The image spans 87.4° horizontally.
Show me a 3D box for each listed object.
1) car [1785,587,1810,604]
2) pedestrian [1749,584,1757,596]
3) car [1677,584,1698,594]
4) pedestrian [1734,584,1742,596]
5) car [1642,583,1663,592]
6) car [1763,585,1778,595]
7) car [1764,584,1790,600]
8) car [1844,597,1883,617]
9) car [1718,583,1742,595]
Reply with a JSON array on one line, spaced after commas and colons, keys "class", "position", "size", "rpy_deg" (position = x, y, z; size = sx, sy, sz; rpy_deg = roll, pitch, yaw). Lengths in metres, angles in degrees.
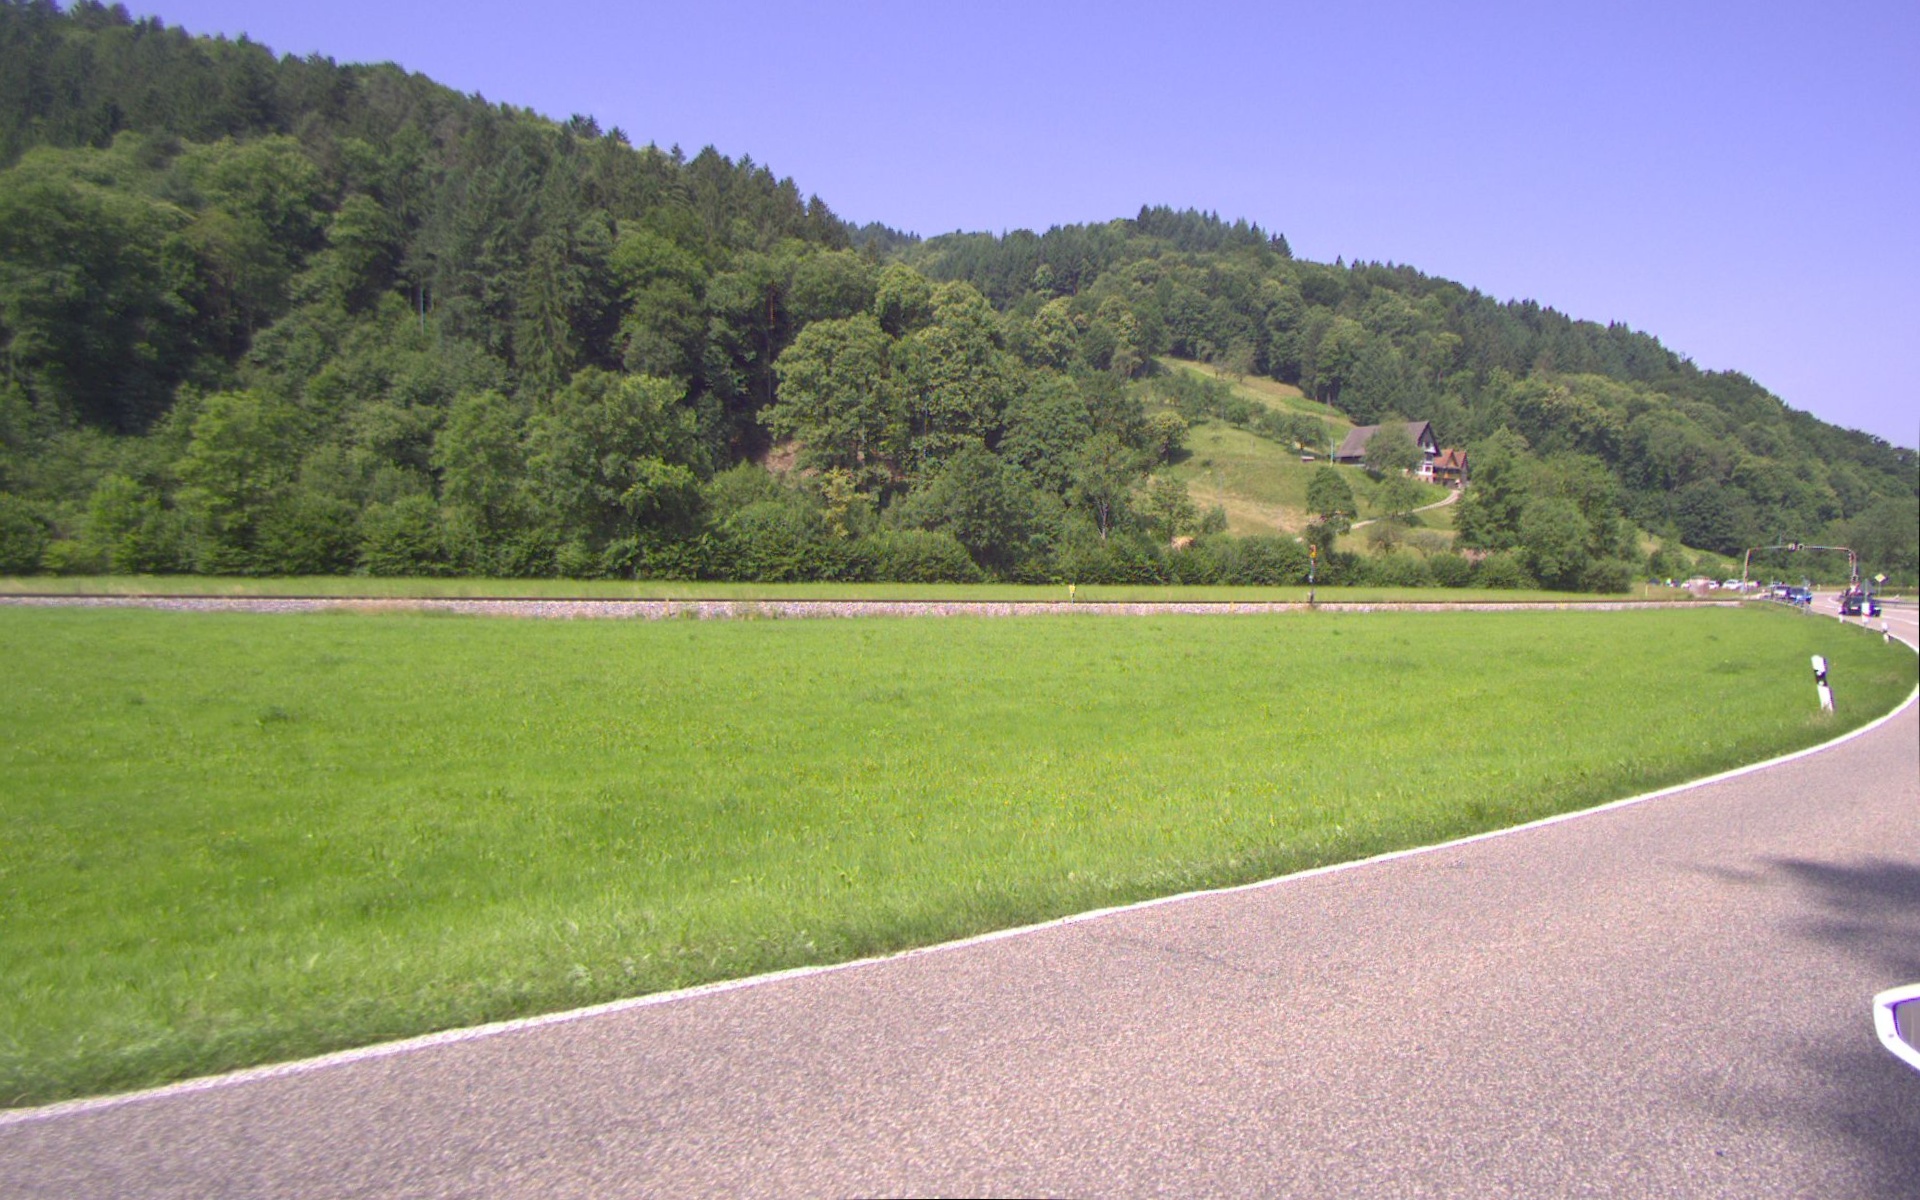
[{"class": "car", "position": [85.989, -0.503, 103.163], "size": [1.843, 1.645, 4.490], "rpy_deg": [0, 1, 39]}, {"class": "pedestrian", "position": [120.855, -1.510, 153.049], "size": [0.757, 1.884, 0.648], "rpy_deg": [0, 2, -7]}, {"class": "car", "position": [118.590, -1.798, 163.772], "size": [4.489, 1.521, 1.974], "rpy_deg": [-1, 2, -44]}, {"class": "pedestrian", "position": [118.802, -1.579, 153.328], "size": [0.691, 1.867, 0.783], "rpy_deg": [-1, 2, -34]}, {"class": "car", "position": [115.686, -2.139, 167.846], "size": [4.489, 1.521, 1.974], "rpy_deg": [-1, 2, -44]}, {"class": "car", "position": [125.338, -1.602, 155.317], "size": [1.804, 1.521, 4.258], "rpy_deg": [2, 2, 39]}, {"class": "car", "position": [93.570, -0.930, 115.082], "size": [1.889, 1.737, 4.145], "rpy_deg": [3, 3, 35]}, {"class": "car", "position": [70.539, 0.526, 78.495], "size": [1.892, 1.490, 4.491], "rpy_deg": [2, 2, 38]}, {"class": "car", "position": [122.877, -1.711, 160.310], "size": [4.729, 1.806, 1.856], "rpy_deg": [-1, 3, -38]}]
